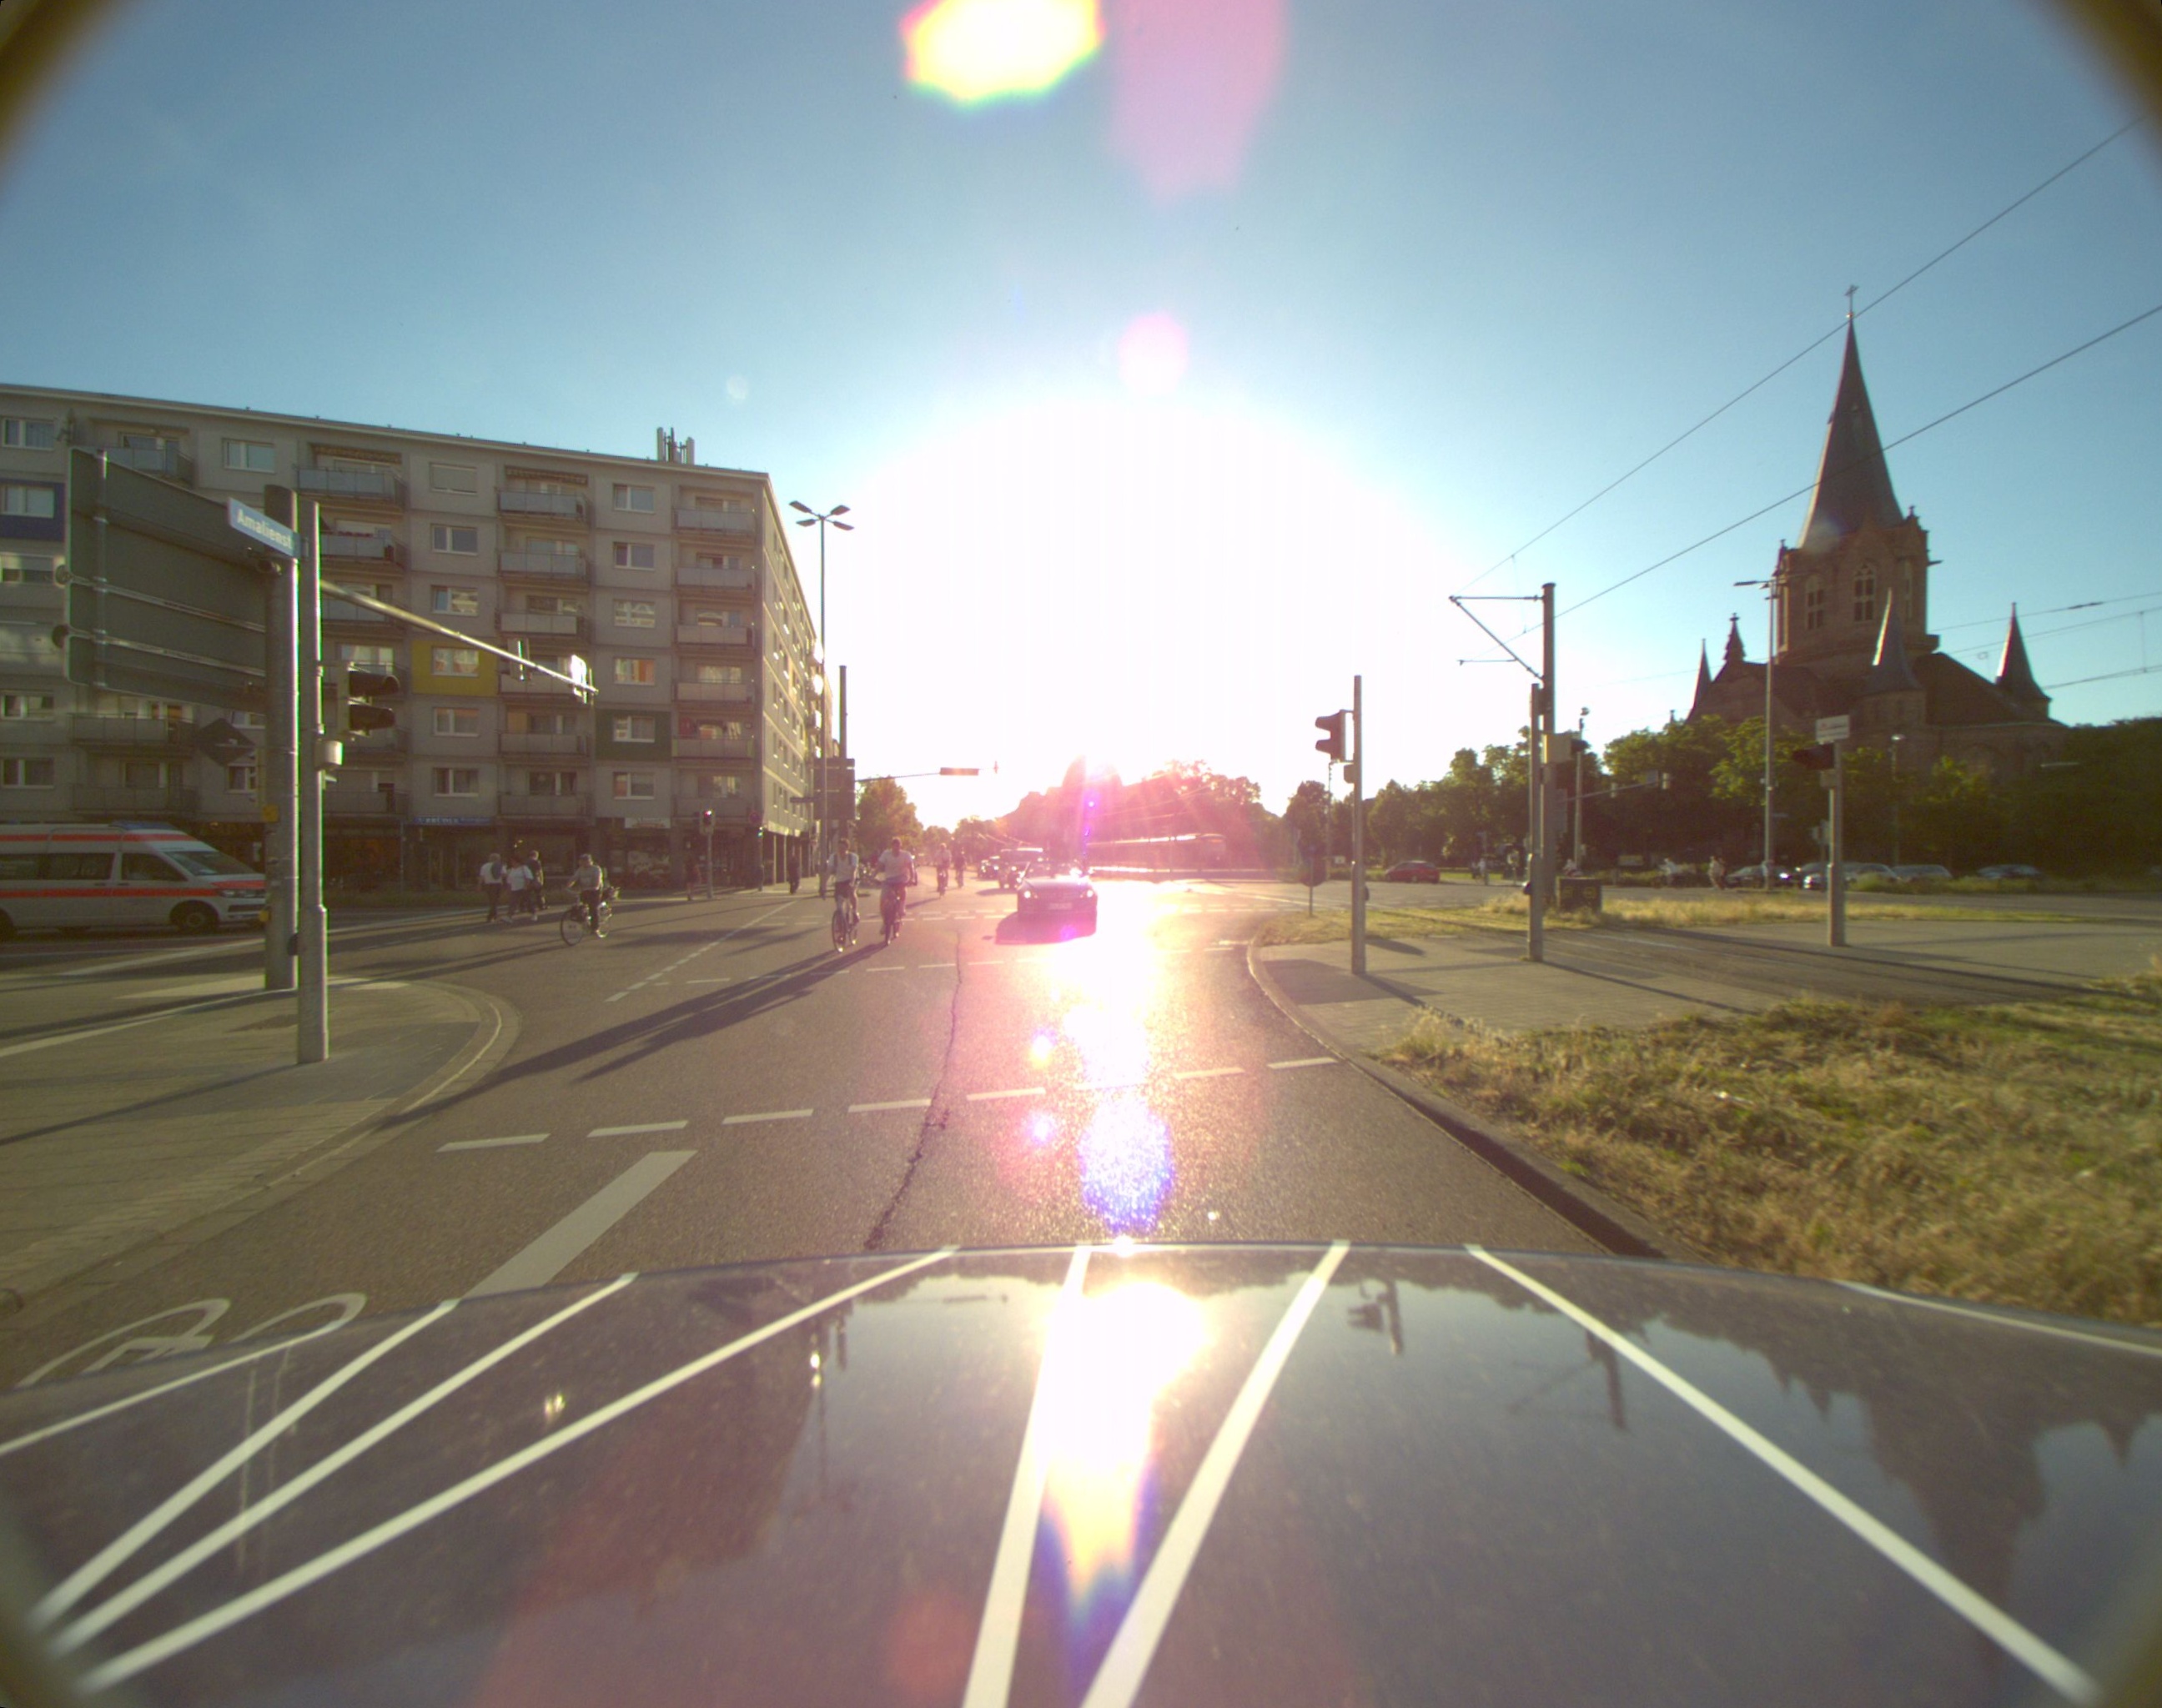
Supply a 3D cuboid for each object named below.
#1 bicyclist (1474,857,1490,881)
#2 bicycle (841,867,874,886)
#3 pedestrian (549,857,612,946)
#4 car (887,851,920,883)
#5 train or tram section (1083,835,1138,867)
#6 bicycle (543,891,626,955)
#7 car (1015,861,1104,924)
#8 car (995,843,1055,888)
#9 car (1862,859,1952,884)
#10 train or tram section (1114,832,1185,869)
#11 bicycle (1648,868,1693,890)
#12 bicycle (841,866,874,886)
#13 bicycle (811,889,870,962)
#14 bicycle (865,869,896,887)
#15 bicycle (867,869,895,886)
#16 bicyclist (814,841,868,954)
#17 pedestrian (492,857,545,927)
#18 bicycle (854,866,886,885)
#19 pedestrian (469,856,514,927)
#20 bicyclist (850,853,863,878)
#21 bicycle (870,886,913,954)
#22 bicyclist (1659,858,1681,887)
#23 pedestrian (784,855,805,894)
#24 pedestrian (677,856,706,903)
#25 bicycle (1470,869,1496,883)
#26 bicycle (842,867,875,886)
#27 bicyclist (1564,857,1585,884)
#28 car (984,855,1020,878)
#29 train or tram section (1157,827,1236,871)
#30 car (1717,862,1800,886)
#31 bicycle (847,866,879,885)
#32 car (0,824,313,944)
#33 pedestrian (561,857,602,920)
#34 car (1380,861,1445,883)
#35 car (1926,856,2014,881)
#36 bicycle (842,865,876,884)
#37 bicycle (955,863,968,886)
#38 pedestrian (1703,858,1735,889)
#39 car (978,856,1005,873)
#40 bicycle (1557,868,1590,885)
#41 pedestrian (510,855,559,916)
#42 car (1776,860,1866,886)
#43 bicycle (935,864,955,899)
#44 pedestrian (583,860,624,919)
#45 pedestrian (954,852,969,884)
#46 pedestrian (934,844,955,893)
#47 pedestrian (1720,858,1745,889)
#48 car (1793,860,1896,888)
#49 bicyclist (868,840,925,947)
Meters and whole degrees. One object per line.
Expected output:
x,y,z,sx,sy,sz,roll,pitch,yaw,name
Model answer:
30.046,1.114,56.924,0.575,1.816,0.893,-2,1,-15,bicyclist
-13.449,1.356,45.725,1.875,1.119,0.606,2,0,-18,bicycle
-9.323,0.869,14.182,0.677,1.581,0.761,0,2,-8,pedestrian
-11.392,0.786,48.555,1.944,1.922,4.826,0,0,-15,car
3.309,-0.295,90.577,2.784,3.515,13.234,-1,0,-15,train or tram section
-9.232,1.251,14.204,0.522,0.975,1.848,0,1,-8,bicycle
-0.632,0.832,18.274,1.777,1.300,4.238,-1,0,-7,car
-2.734,0.516,36.137,1.922,1.978,4.940,-1,0,-15,car
48.445,1.008,44.601,4.002,1.412,1.900,0,0,-14,car
6.732,-0.331,77.810,2.784,3.515,13.234,-1,0,-15,train or tram section
32.681,1.366,42.144,0.460,1.139,1.915,-2,0,-27,bicycle
-13.634,1.336,46.287,1.875,1.119,0.567,2,0,-18,bicycle
-3.941,1.138,12.565,0.577,1.022,1.855,-2,0,-7,bicycle
-13.210,1.578,50.035,1.875,1.119,0.567,2,0,-18,bicycle
-14.045,1.654,53.389,1.875,1.119,0.567,2,0,-18,bicycle
-3.959,0.691,12.609,0.676,1.797,0.993,-1,0,-8,bicyclist
-13.665,0.906,18.486,0.730,1.652,0.905,0,0,-13,pedestrian
-13.461,1.356,48.513,1.875,1.119,0.567,2,0,-18,bicycle
-14.380,0.901,18.545,0.570,1.691,0.811,0,0,-13,pedestrian
-16.154,0.839,54.688,0.744,1.797,1.384,-1,0,-12,bicyclist
-3.316,1.120,13.393,0.480,1.022,1.980,-2,0,-7,bicycle
32.664,0.999,42.138,0.522,1.574,0.819,-2,1,-27,bicyclist
-12.617,0.893,33.488,0.664,1.694,1.071,0,0,-10,pedestrian
-13.285,0.862,25.912,0.684,1.580,0.746,0,0,-10,pedestrian
30.071,1.644,56.845,0.525,1.020,1.928,-2,0,-15,bicycle
-13.203,1.329,45.178,1.875,1.055,0.606,0,0,-17,bicycle
31.143,1.025,47.963,0.575,1.671,0.893,-2,1,-15,bicyclist
-6.380,0.991,61.061,1.958,1.702,4.844,-3,1,-16,car
9.816,-0.372,66.338,2.784,3.515,10.556,-1,0,-15,train or tram section
41.389,1.210,46.440,4.002,1.412,1.900,0,0,-14,car
-13.694,1.363,47.731,1.875,1.119,0.567,2,0,-18,bicycle
-20.919,0.605,16.784,5.269,2.468,1.923,-1,0,-14,car
-13.357,0.901,20.349,0.684,1.652,0.746,0,0,-13,pedestrian
21.743,1.145,49.964,1.731,1.406,3.880,0,0,-19,car
53.857,0.859,46.043,4.002,1.412,1.900,0,0,-14,car
-13.023,1.194,44.583,1.875,1.055,0.606,0,0,-17,bicycle
-6.143,1.048,39.105,0.530,1.152,1.847,-2,0,-13,bicycle
34.513,1.051,41.121,0.738,1.663,1.104,0,0,-12,pedestrian
-7.952,0.915,67.160,1.817,1.393,3.914,-3,1,-15,car
31.130,1.424,48.025,0.460,1.020,1.928,-2,0,-14,bicycle
-15.610,0.876,21.719,0.786,1.691,1.026,0,0,-13,pedestrian
42.215,1.067,43.363,4.002,1.412,1.900,0,0,-14,car
-4.690,0.934,26.292,0.530,1.152,1.848,-2,0,-7,bicycle
-12.542,0.919,19.967,0.684,1.491,0.746,0,0,-13,pedestrian
-6.130,0.715,39.007,0.679,1.639,0.900,-2,1,-12,pedestrian
-4.694,0.489,26.182,0.640,1.639,0.842,-2,1,-7,pedestrian
35.309,1.029,41.175,0.738,1.663,0.717,0,0,-12,pedestrian
40.027,1.025,39.849,4.001,1.412,1.900,0,0,-11,car
-3.215,0.669,13.339,0.829,1.797,1.057,-1,0,-7,bicyclist
